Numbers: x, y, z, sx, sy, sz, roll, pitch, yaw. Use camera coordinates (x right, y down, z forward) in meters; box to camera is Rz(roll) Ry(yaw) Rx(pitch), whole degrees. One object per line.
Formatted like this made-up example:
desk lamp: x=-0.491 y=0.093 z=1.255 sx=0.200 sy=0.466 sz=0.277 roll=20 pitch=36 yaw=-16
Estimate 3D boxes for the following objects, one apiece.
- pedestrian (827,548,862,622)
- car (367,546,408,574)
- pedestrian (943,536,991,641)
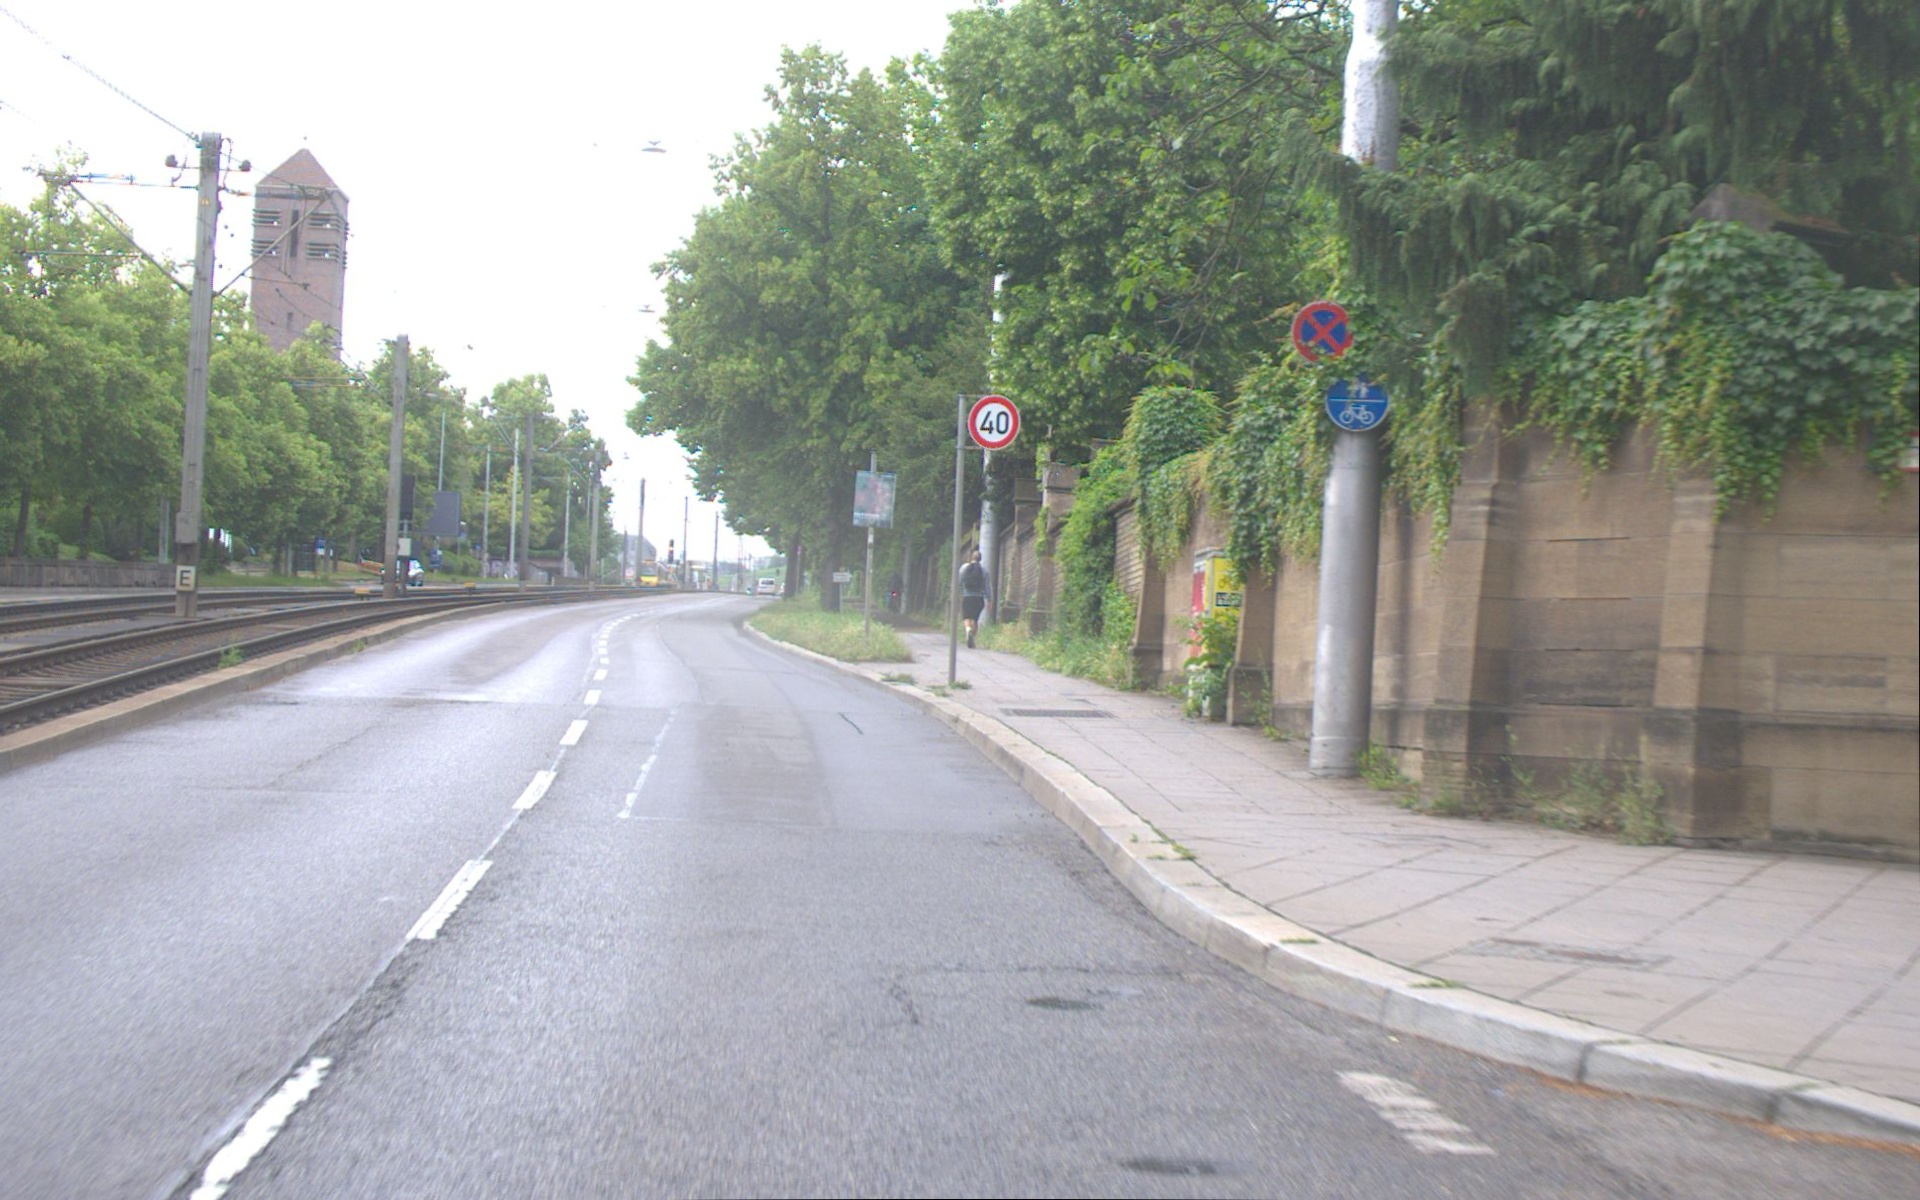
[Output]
pedestrian: x=-2.710 y=-0.346 z=80.587 sx=0.719 sy=1.681 sz=0.729 roll=4 pitch=0 yaw=-3
car: x=-32.178 y=-2.253 z=193.373 sx=1.794 sy=1.505 sz=3.849 roll=2 pitch=1 yaw=-3
pedestrian: x=0.123 y=-0.207 z=61.688 sx=0.719 sy=1.843 sz=0.783 roll=4 pitch=0 yaw=-3
